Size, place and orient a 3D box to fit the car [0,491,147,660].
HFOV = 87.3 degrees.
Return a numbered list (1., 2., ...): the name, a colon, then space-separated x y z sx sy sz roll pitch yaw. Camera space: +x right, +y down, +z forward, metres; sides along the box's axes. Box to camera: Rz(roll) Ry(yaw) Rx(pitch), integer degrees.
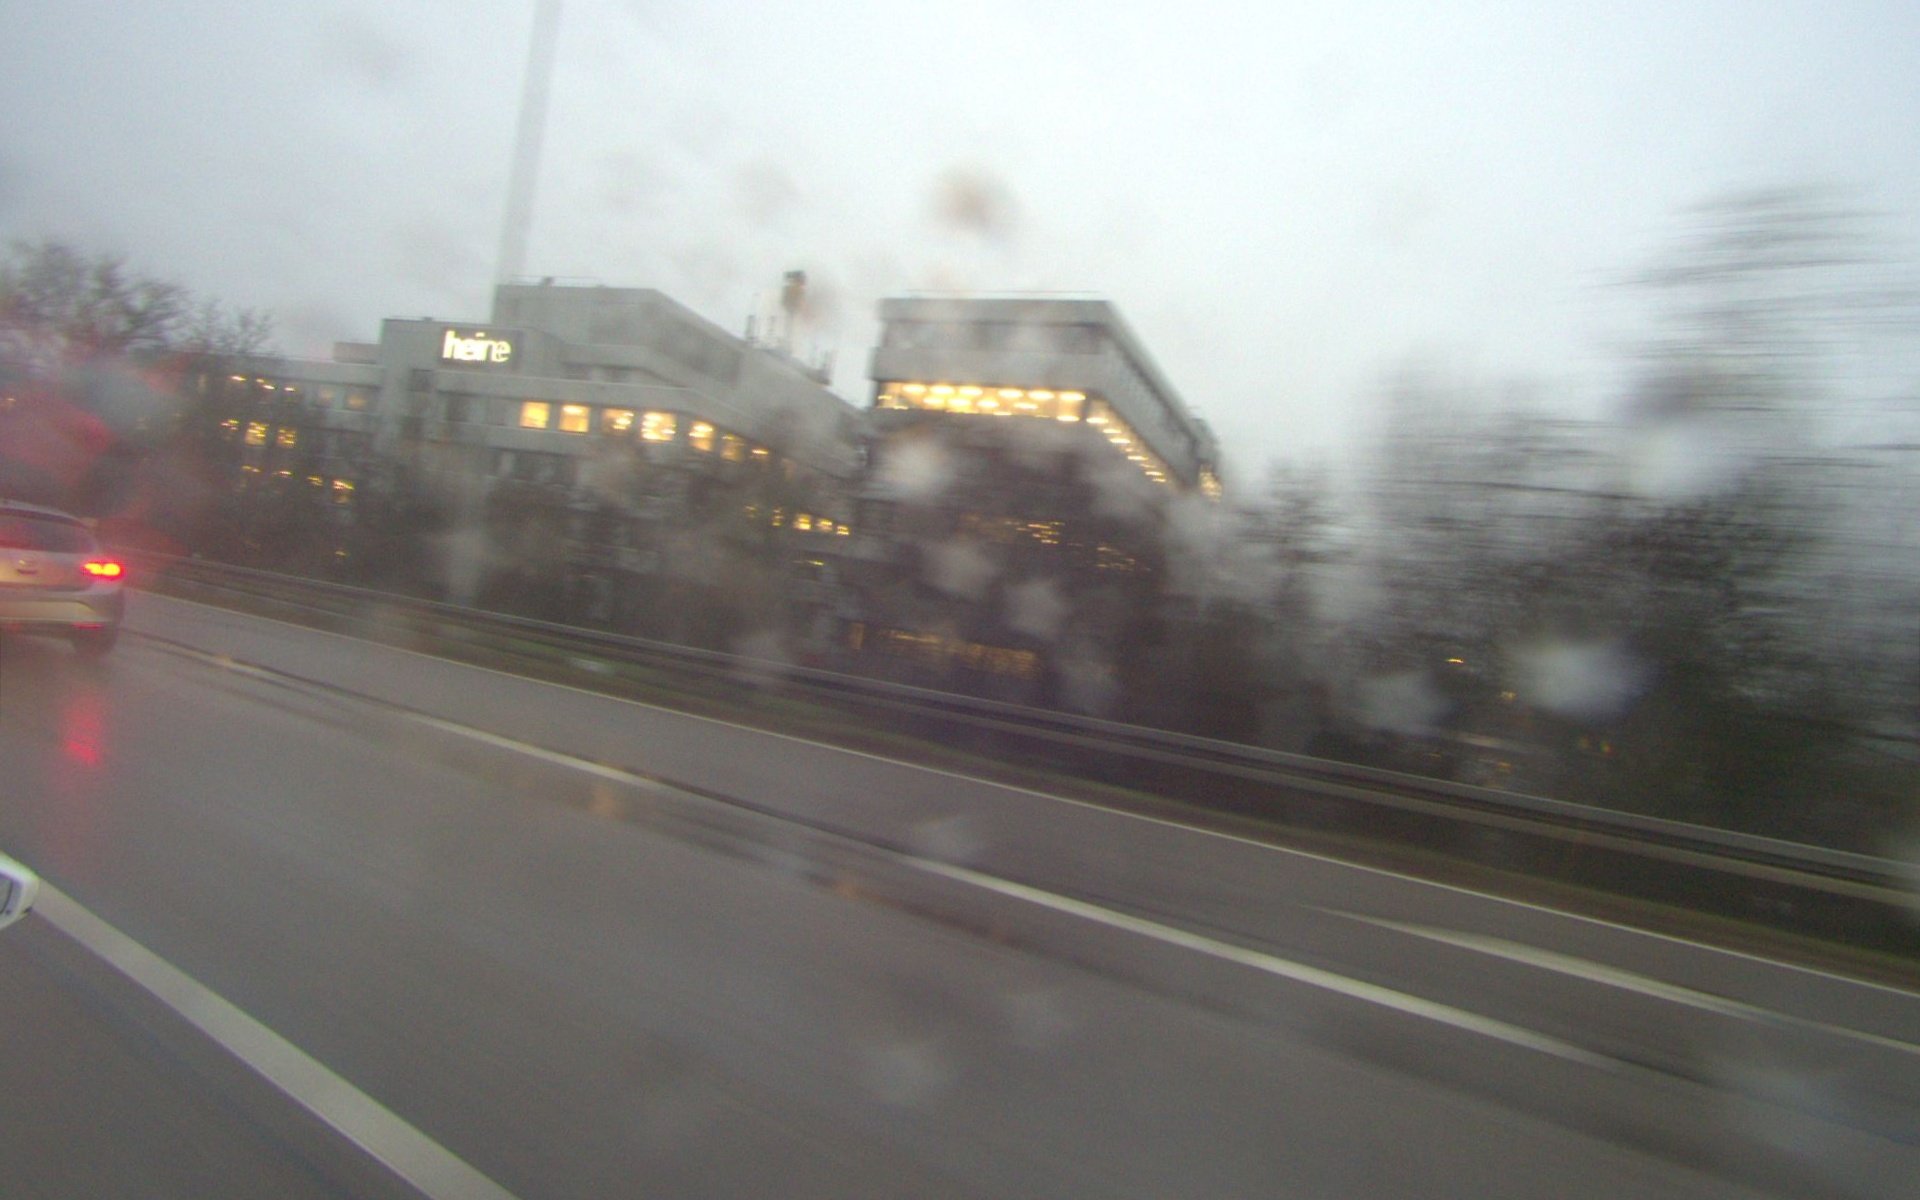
1. car: -10.651 -0.434 10.569 4.191 1.519 1.853 7 -2 31
